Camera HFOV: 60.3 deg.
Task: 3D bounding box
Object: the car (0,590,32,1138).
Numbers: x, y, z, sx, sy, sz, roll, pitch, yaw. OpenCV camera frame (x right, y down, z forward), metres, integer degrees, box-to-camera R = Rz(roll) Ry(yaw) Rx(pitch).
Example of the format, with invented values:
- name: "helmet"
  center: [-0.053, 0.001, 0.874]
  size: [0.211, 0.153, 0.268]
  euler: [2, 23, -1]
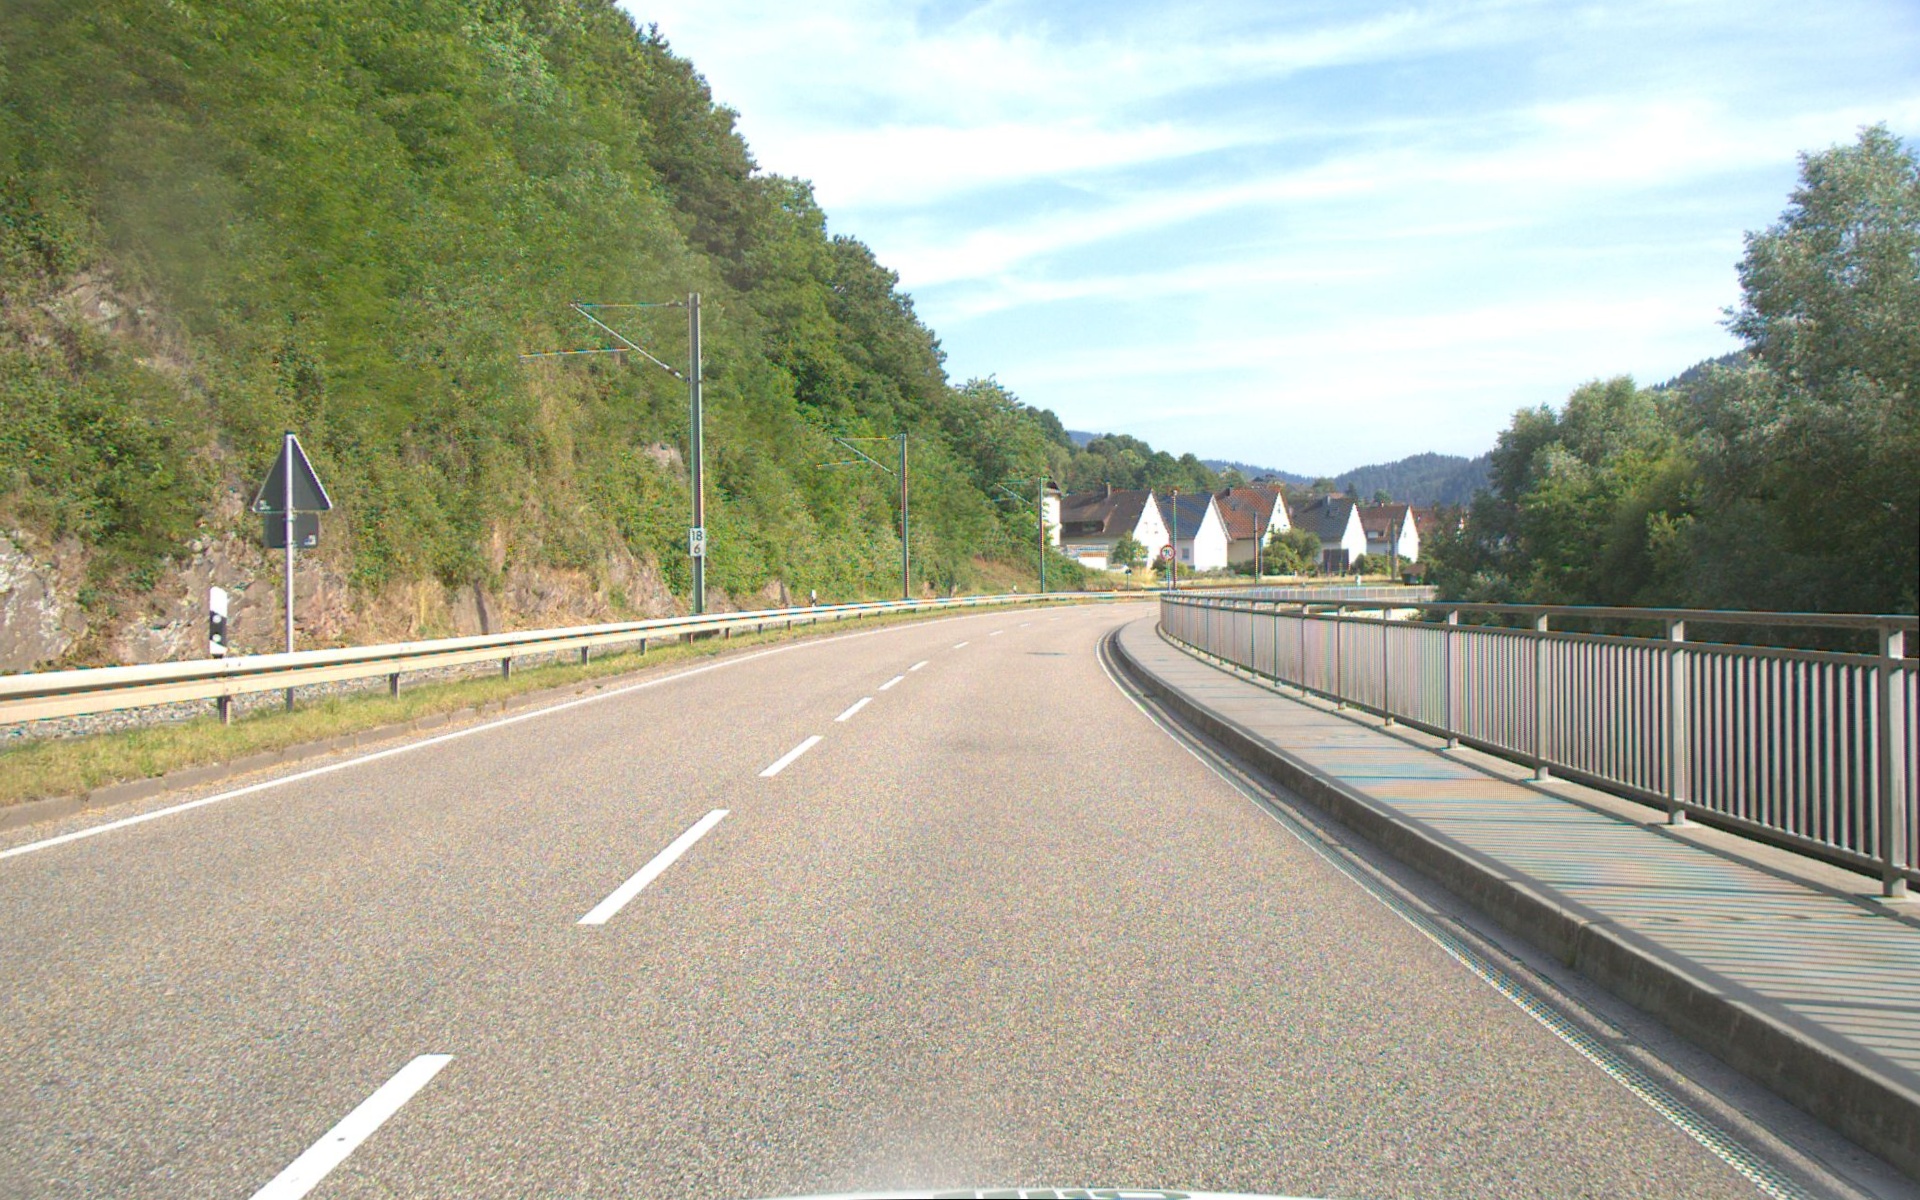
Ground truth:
- name: "car"
  center: [-3.372, 0.705, 2.184]
  size: [1.809, 1.426, 4.476]
  euler: [0, 1, -1]
